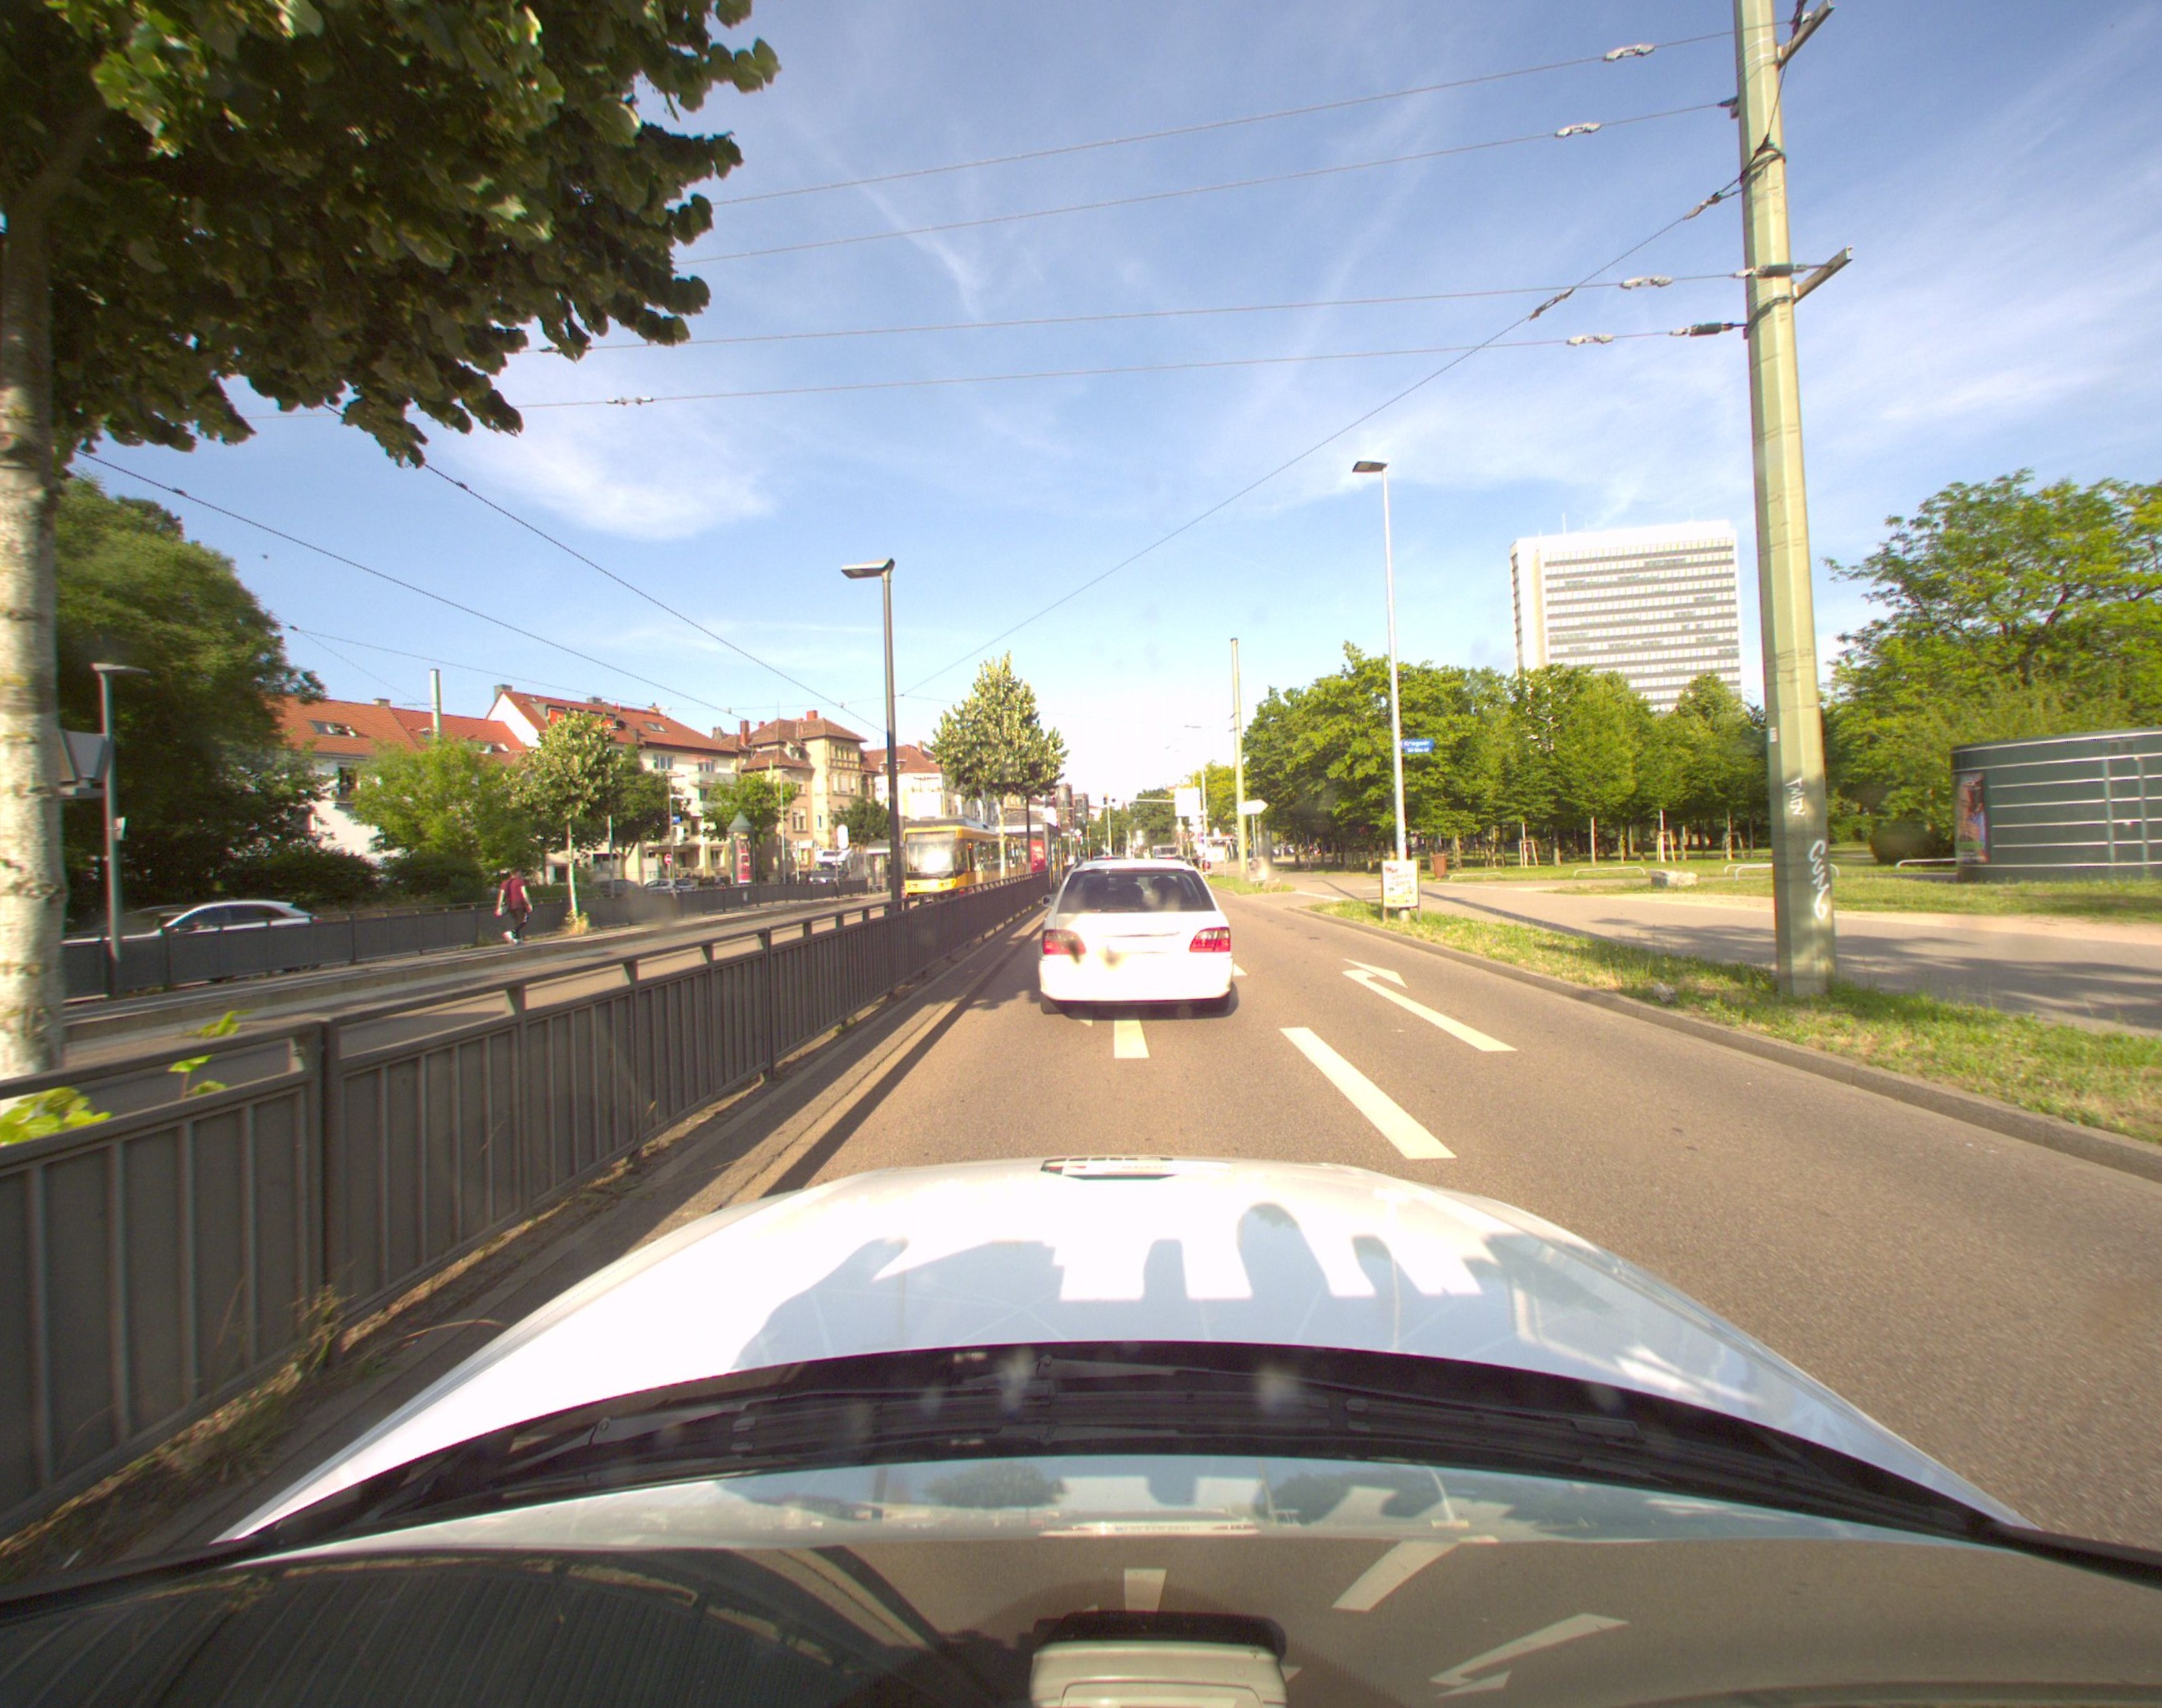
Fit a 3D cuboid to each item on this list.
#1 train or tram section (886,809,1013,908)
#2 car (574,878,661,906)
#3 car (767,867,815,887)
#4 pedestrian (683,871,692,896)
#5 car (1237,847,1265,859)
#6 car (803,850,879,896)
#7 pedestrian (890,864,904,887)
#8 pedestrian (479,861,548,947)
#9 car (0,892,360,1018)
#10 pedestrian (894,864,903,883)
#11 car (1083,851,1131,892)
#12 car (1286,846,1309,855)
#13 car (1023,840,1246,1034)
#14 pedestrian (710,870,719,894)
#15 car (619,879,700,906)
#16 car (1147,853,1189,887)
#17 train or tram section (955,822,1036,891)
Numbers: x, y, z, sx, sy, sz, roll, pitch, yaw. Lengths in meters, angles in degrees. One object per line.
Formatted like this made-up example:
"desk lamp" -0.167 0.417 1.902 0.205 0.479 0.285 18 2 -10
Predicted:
"train or tram section" -5.263 0.137 35.738 2.838 3.479 13.207 -1 0 2
"car" -26.136 2.115 45.927 3.956 1.398 2.009 -2 0 16
"car" -28.115 2.260 78.948 3.954 1.750 2.010 -2 0 19
"pedestrian" -31.431 2.359 65.008 0.379 2.013 0.410 -2 0 20
"car" 27.268 -0.109 130.423 3.949 1.651 2.012 -3 -1 27
"car" -15.861 1.163 54.400 2.587 2.735 7.470 -2 0 1
"pedestrian" -14.255 1.637 63.117 0.886 1.753 0.743 -2 0 -9
"pedestrian" -12.092 1.049 17.380 0.832 1.733 0.772 -3 0 2
"car" -15.735 1.657 14.579 1.987 1.684 4.000 -2 0 1
"pedestrian" -17.982 1.928 80.270 0.662 1.753 0.747 -2 0 6
"car" 1.208 0.727 36.096 1.778 1.690 4.007 -2 0 6
"car" 41.865 -0.649 157.582 4.007 1.651 1.983 -3 0 -25
"car" 0.516 0.689 8.689 1.751 1.503 4.002 -3 0 2
"pedestrian" -31.072 2.339 69.053 0.417 2.013 0.436 -2 0 20
"car" -25.153 2.310 48.650 3.956 1.398 2.009 -2 0 16
"car" 4.514 0.775 42.213 2.023 1.605 4.007 -2 0 6
"train or tram section" -4.804 0.102 48.690 2.838 3.479 13.207 -2 0 2
